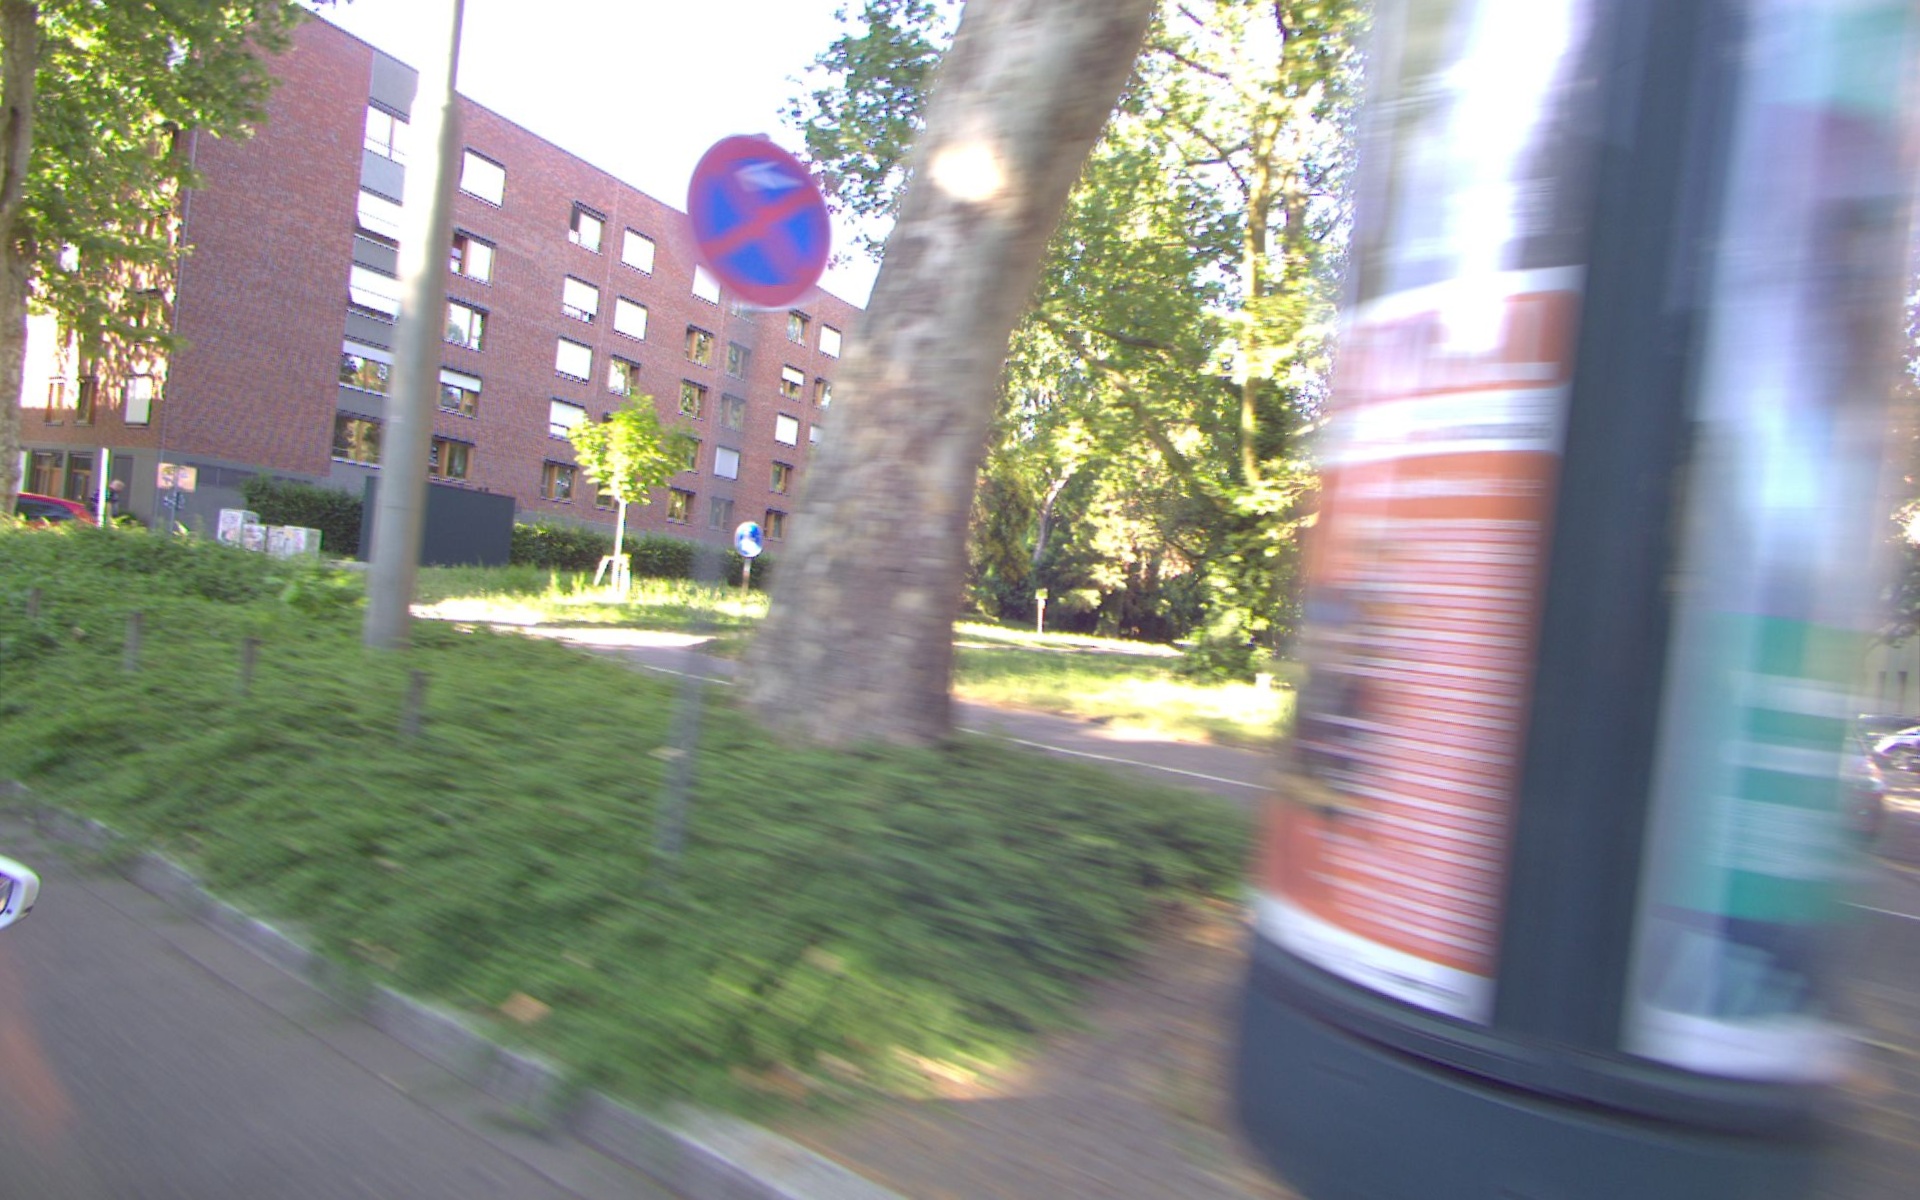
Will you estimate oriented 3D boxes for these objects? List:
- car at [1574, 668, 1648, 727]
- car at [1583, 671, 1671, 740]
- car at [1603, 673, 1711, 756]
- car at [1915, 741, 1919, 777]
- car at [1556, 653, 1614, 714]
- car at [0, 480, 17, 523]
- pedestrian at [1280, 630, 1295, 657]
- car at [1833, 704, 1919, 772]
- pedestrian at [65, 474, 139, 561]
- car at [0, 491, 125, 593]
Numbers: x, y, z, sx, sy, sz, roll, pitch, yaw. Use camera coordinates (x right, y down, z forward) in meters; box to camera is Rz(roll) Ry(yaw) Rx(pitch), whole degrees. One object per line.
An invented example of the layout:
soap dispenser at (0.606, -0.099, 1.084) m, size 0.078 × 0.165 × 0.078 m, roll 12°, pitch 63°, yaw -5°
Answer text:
car at (21.774, 3.211, 33.772) m, size 1.655 × 1.601 × 3.923 m, roll 7°, pitch 1°, yaw 29°
car at (19.258, 3.001, 29.201) m, size 1.655 × 1.601 × 3.923 m, roll 7°, pitch 1°, yaw 29°
car at (17.111, 2.743, 24.869) m, size 1.655 × 1.601 × 3.923 m, roll 7°, pitch 1°, yaw 29°
car at (25.230, 3.735, 22.957) m, size 4.498 × 1.595 × 1.792 m, roll 7°, pitch 1°, yaw 28°
car at (30.720, 4.042, 49.580) m, size 1.942 × 2.595 × 5.035 m, roll 7°, pitch 1°, yaw 29°
car at (-36.451, -3.793, 37.019) m, size 3.359 × 1.514 × 1.602 m, roll 7°, pitch 1°, yaw 30°
pedestrian at (21.536, 2.876, 66.101) m, size 0.639 × 1.682 × 0.648 m, roll 7°, pitch 2°, yaw 31°
car at (27.705, 4.074, 28.156) m, size 4.498 × 1.595 × 1.792 m, roll 7°, pitch 1°, yaw 28°
pedestrian at (-19.891, -1.907, 23.331) m, size 0.998 × 1.890 × 0.983 m, roll 7°, pitch 5°, yaw 26°
car at (-15.483, -1.033, 15.341) m, size 1.622 × 1.441 × 3.886 m, roll 7°, pitch 0°, yaw 34°
